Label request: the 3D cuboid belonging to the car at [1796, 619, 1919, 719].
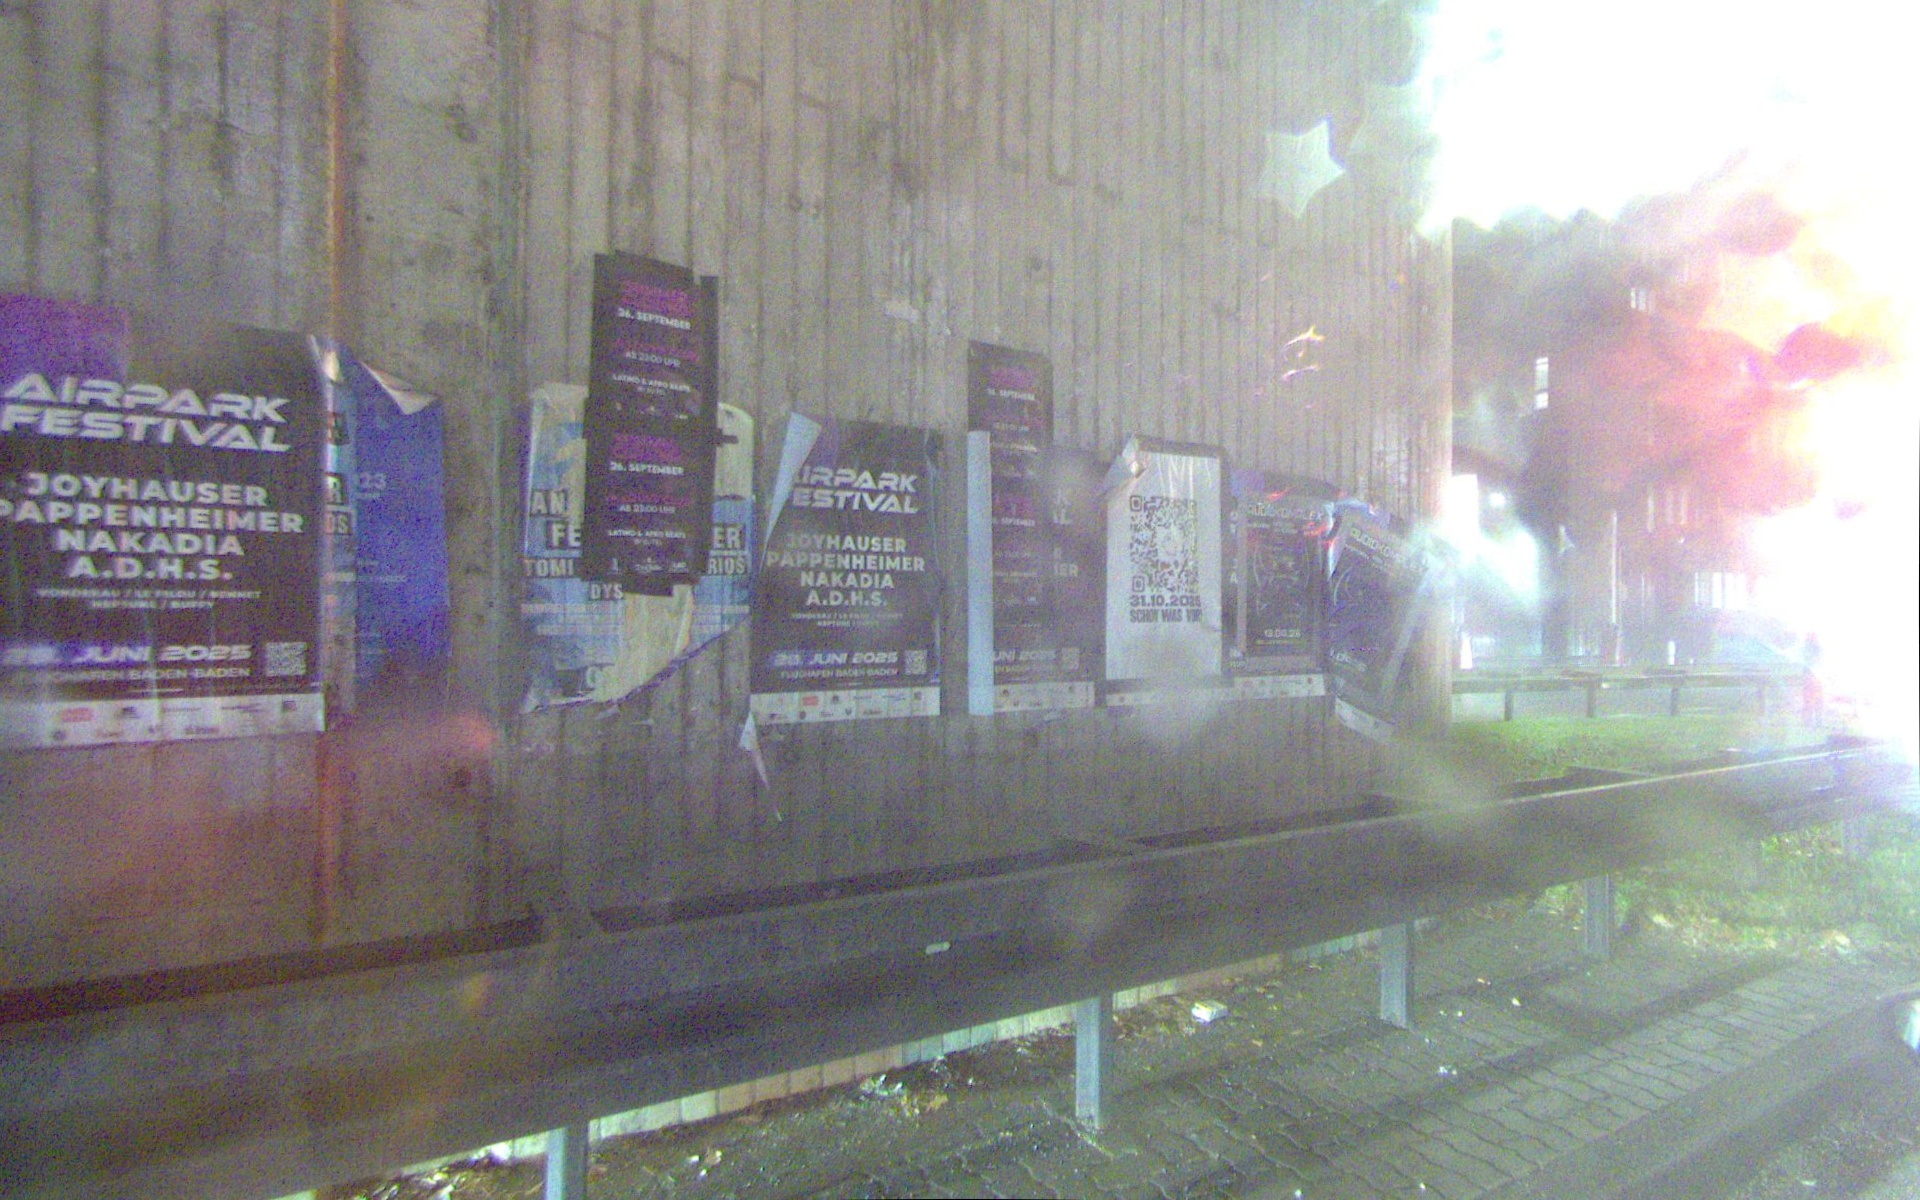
[{"bbox_3d":[16.941,1.107,16.833,4.000,1.609,1.913,-2,-2,16],"label":"car"}]
